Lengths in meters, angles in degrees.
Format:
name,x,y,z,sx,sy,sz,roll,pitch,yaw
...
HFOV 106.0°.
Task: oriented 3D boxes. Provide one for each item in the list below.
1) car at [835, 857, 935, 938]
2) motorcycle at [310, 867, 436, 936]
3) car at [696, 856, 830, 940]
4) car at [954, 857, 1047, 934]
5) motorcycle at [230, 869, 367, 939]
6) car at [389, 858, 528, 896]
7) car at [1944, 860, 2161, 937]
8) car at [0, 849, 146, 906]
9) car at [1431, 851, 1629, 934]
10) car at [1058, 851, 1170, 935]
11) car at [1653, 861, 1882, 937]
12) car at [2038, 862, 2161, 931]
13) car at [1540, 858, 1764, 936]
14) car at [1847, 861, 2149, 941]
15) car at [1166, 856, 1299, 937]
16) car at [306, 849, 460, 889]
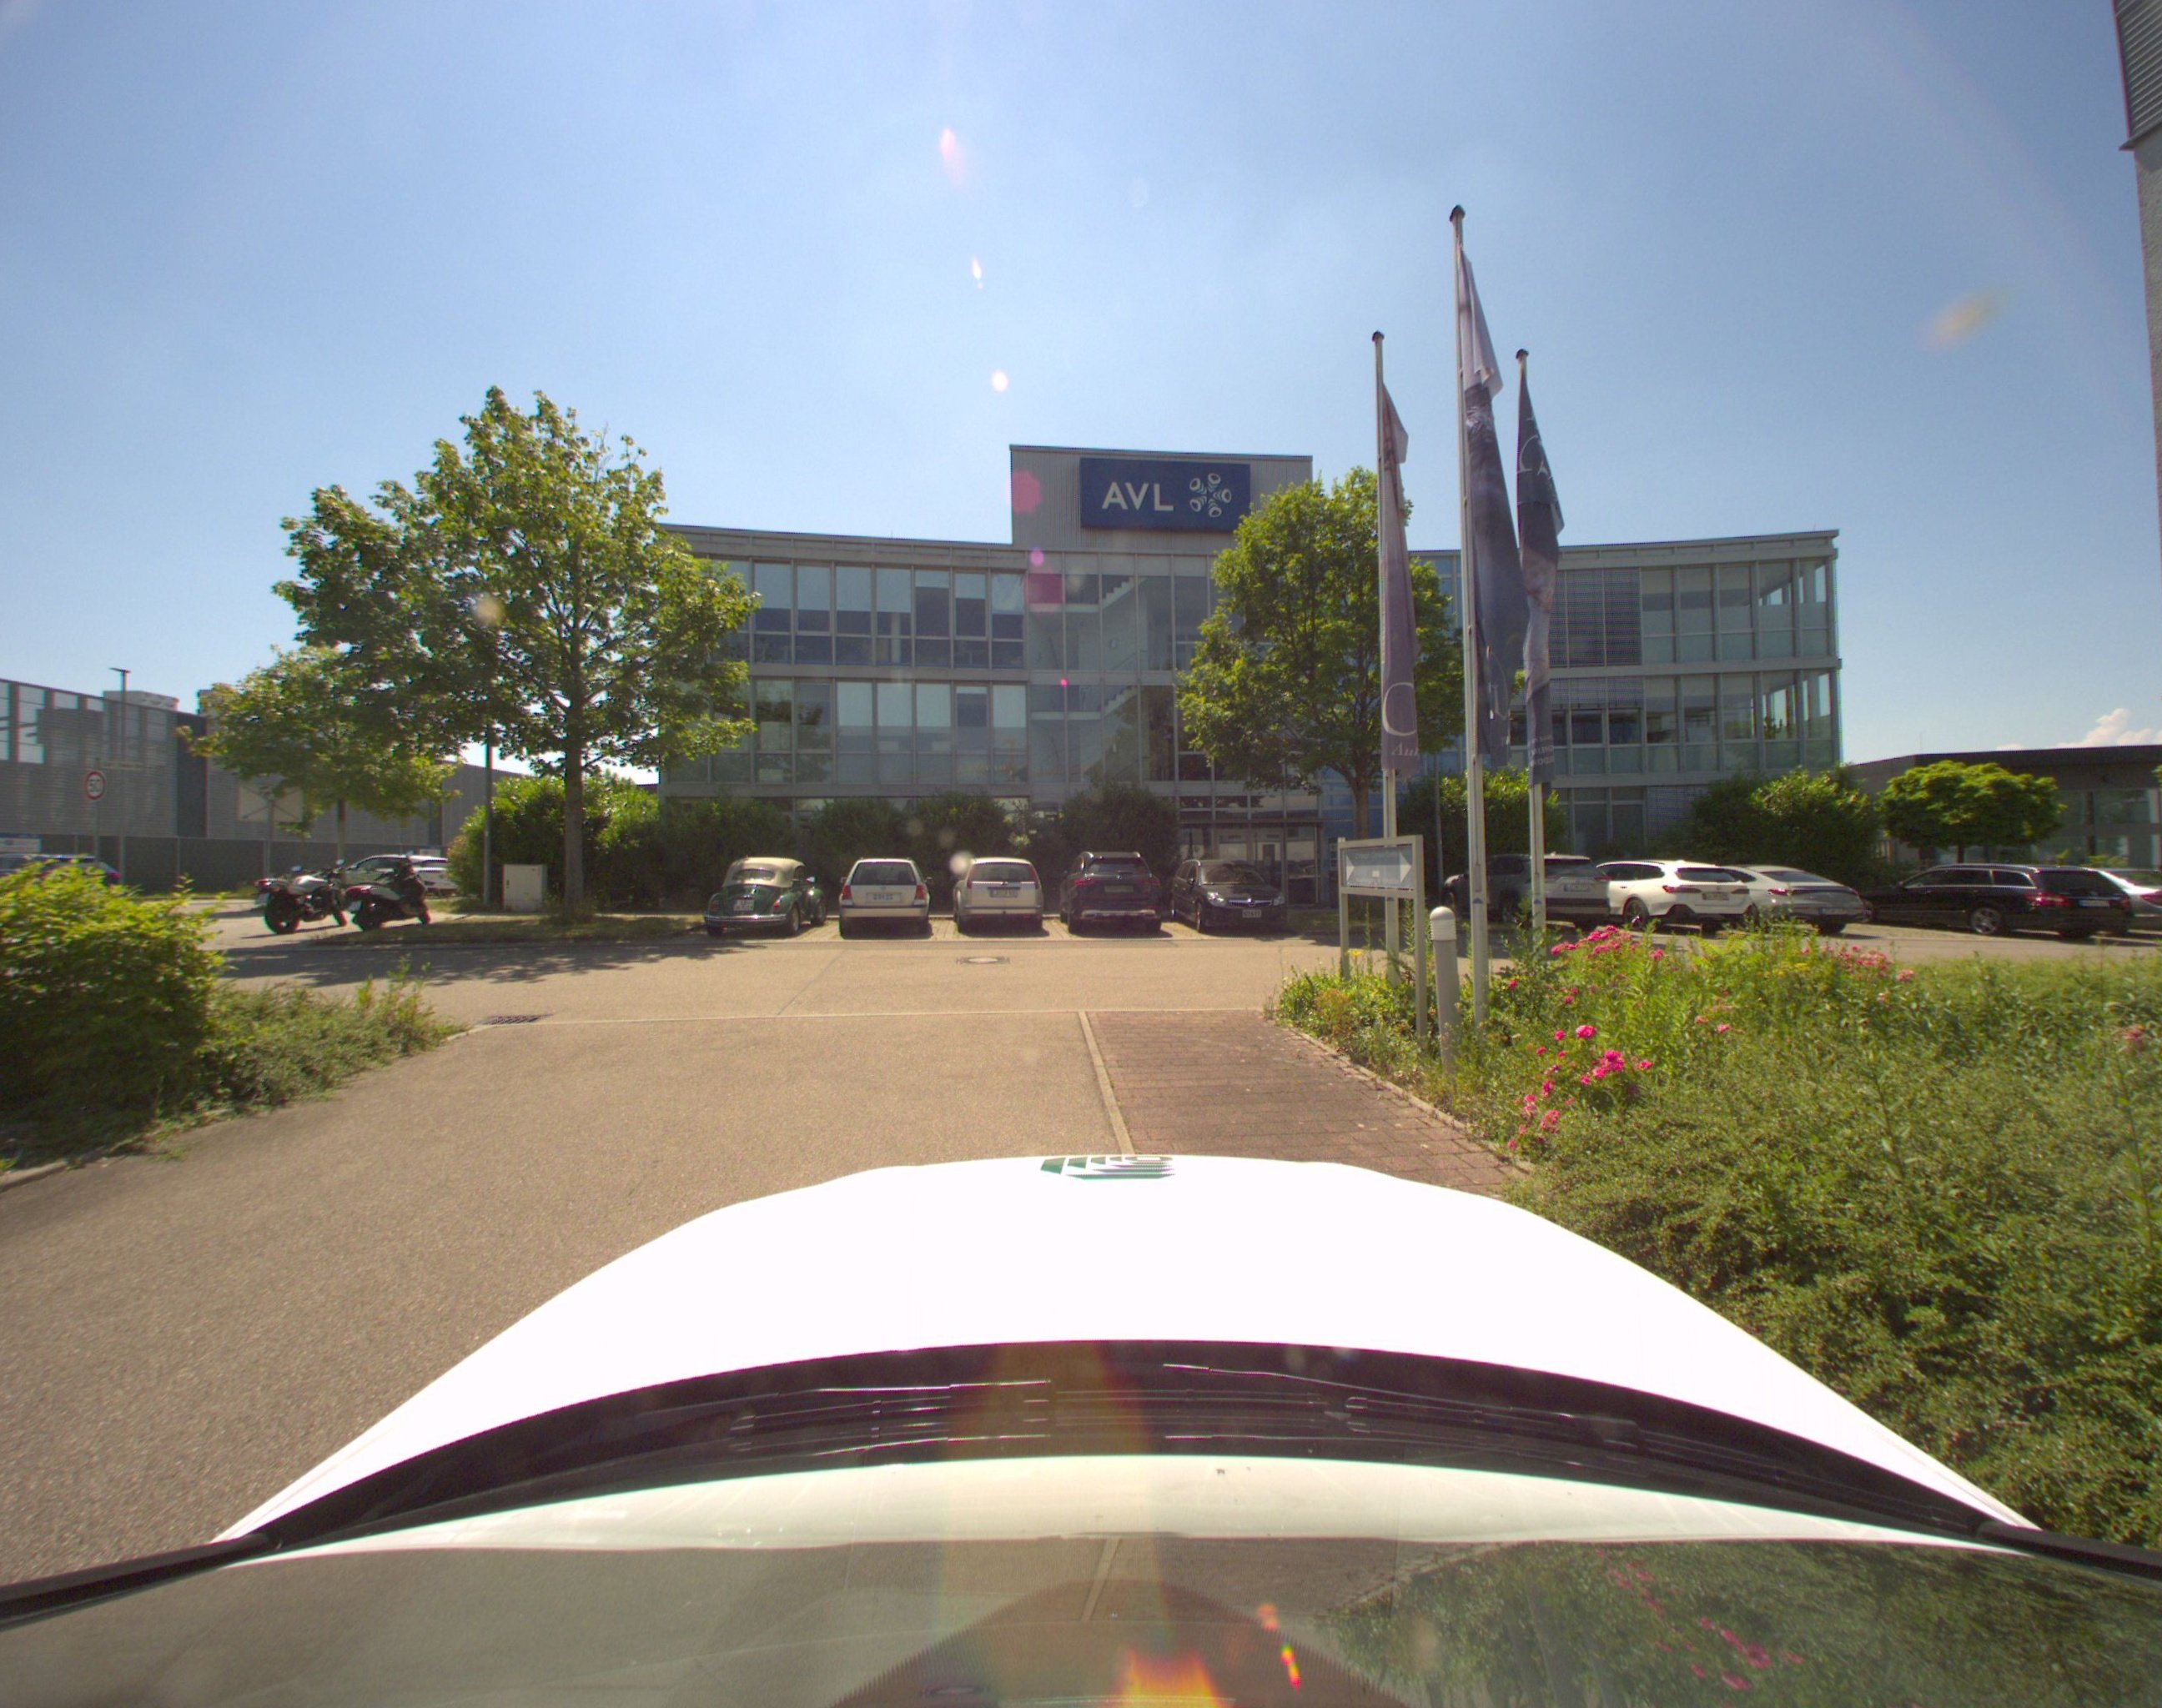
name,x,y,z,sx,sy,sz,roll,pitch,yaw
car,-3.917,0.805,16.771,1.731,1.449,3.642,1,0,-10
motorcycle,-13.023,0.829,15.069,0.712,1.138,1.954,-1,0,-5
car,-6.204,0.792,16.293,1.539,1.449,3.646,1,0,-6
car,-1.830,0.815,17.585,1.765,1.449,3.642,1,0,-10
motorcycle,-14.289,0.871,14.960,0.712,1.138,1.954,-1,0,-5
car,-26.895,0.963,35.234,4.809,1.491,2.006,0,0,9
car,22.194,0.899,17.953,1.728,1.447,4.554,1,0,4
car,-29.203,0.606,22.726,4.473,1.491,2.006,0,0,9
car,9.921,0.761,18.448,1.817,1.619,4.331,-1,0,-5
car,0.590,0.742,17.632,1.924,1.610,3.979,1,0,-5
car,15.155,0.903,18.340,1.728,1.429,4.345,1,0,4
car,24.127,0.940,17.685,1.728,1.447,4.423,1,0,4
car,12.467,0.856,18.186,1.733,1.491,4.331,1,0,-5
car,19.658,0.917,17.838,1.728,1.447,4.554,1,0,4
car,3.130,0.814,17.744,1.767,1.482,4.251,-1,0,-5
car,-27.779,0.568,32.454,4.809,1.491,2.006,0,0,9
